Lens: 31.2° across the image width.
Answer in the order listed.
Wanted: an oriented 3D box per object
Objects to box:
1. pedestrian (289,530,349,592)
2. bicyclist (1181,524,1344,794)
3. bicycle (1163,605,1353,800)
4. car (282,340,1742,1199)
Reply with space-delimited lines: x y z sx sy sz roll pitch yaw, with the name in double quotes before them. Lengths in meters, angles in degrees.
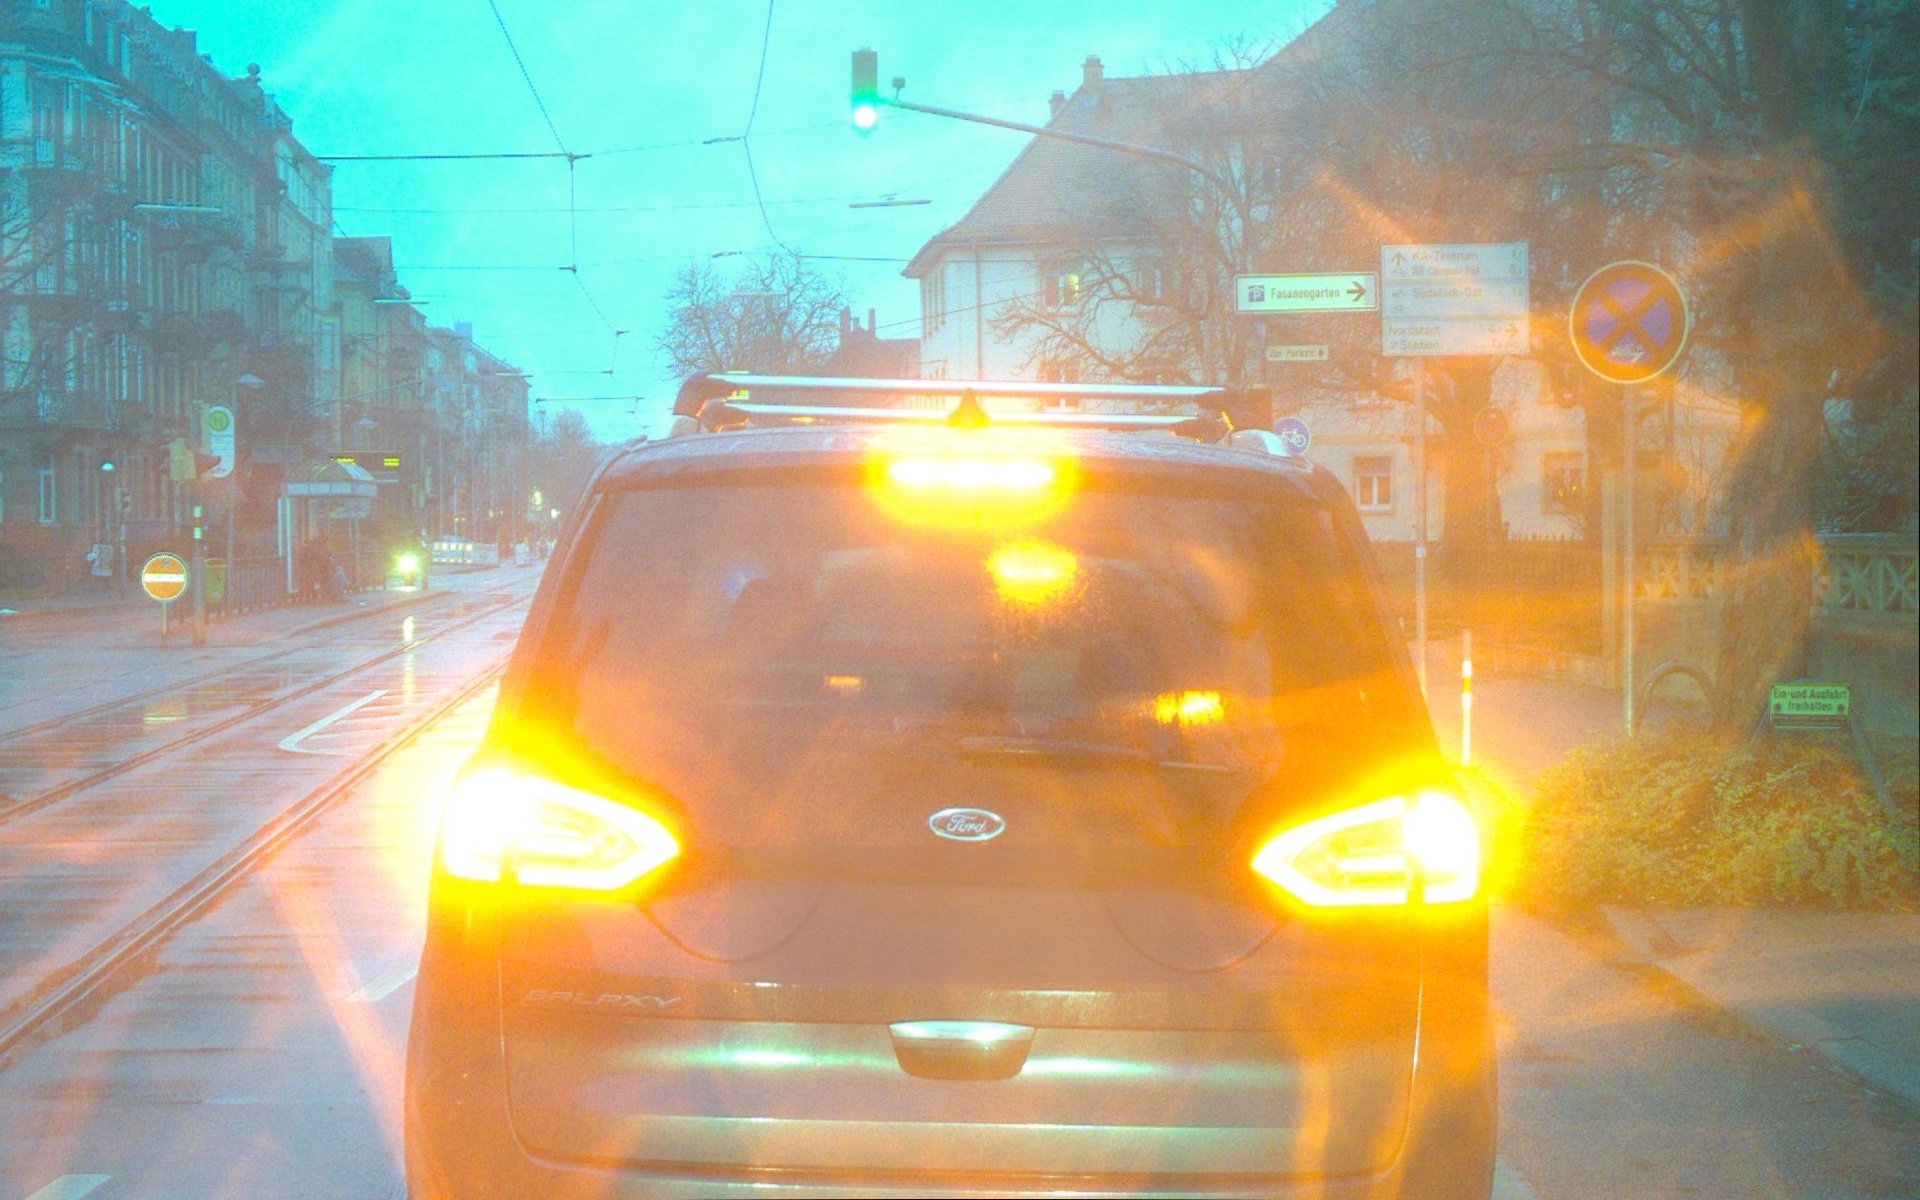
"pedestrian" -12.692 -0.773 68.069 1.047 1.196 0.885 0 0 -3
"bicyclist" 1.930 0.361 22.083 0.716 1.657 1.057 3 1 -8
"bicycle" 1.900 0.636 22.199 0.716 1.108 1.942 4 1 -9
"car" -0.014 0.505 7.355 2.103 1.810 4.661 1 1 -2
